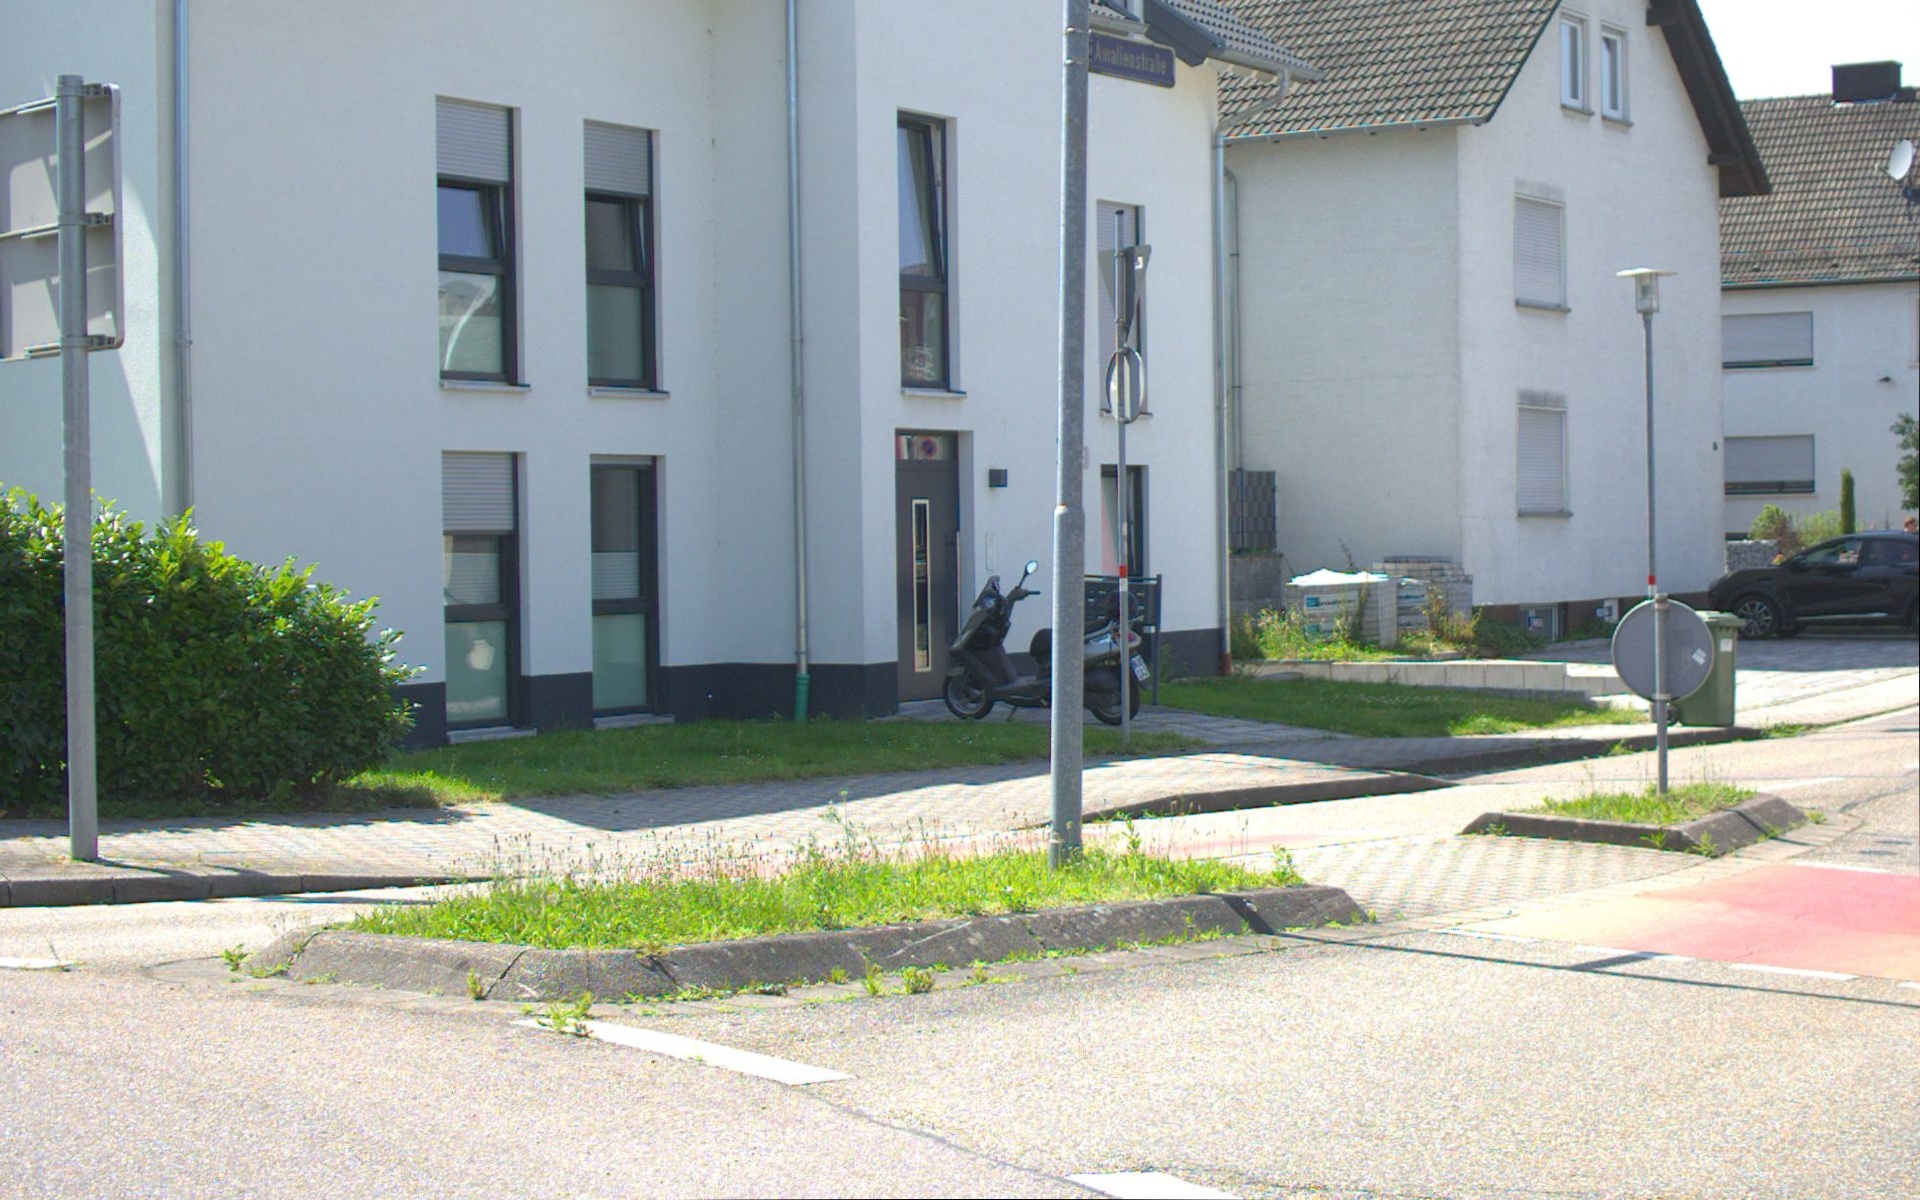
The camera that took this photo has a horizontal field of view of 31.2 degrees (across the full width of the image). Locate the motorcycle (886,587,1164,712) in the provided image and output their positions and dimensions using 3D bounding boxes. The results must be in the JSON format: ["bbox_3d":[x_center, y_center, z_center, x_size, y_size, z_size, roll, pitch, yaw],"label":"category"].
[{"bbox_3d":[0.537,0.411,29.191,2.366,1.010,0.670,1,0,35],"label":"motorcycle"}]

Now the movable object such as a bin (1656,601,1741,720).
[{"bbox_3d":[6.925,0.561,32.238,0.646,1.080,0.458,1,2,39],"label":"movable object such as a bin"}]

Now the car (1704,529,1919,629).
[{"bbox_3d":[12.802,-0.313,48.985,3.993,1.379,1.658,0,1,29],"label":"car"}]
